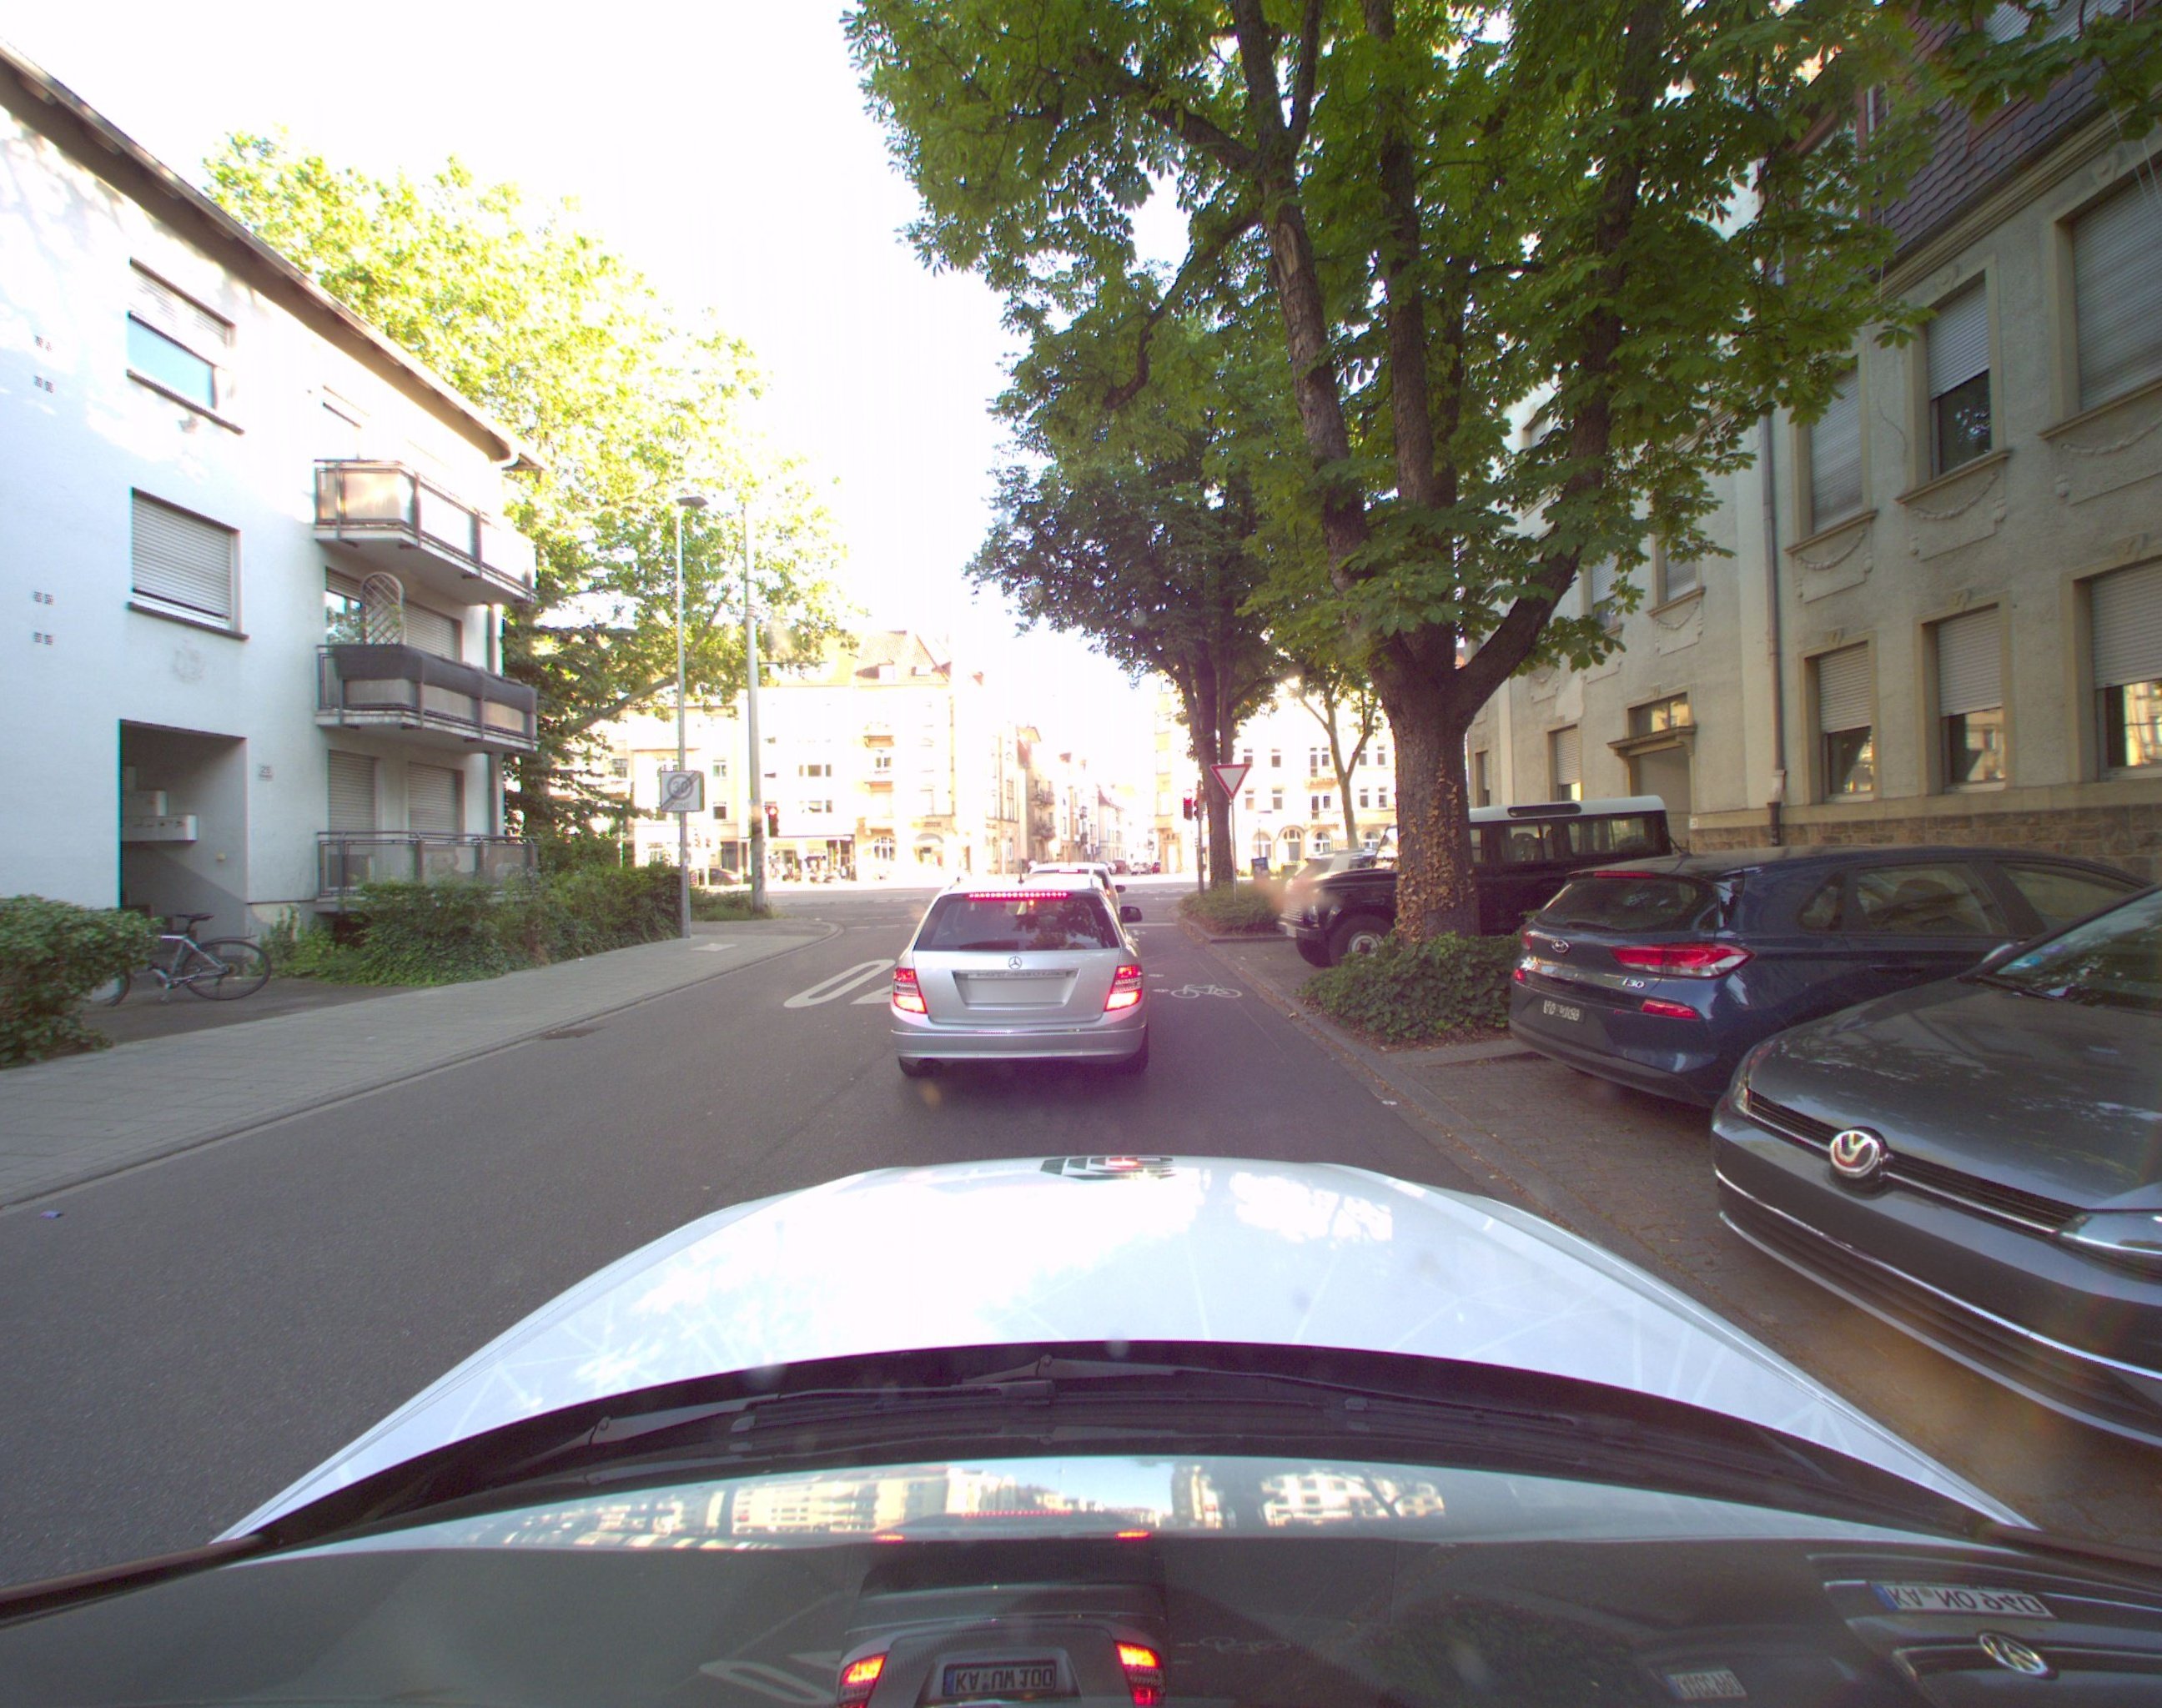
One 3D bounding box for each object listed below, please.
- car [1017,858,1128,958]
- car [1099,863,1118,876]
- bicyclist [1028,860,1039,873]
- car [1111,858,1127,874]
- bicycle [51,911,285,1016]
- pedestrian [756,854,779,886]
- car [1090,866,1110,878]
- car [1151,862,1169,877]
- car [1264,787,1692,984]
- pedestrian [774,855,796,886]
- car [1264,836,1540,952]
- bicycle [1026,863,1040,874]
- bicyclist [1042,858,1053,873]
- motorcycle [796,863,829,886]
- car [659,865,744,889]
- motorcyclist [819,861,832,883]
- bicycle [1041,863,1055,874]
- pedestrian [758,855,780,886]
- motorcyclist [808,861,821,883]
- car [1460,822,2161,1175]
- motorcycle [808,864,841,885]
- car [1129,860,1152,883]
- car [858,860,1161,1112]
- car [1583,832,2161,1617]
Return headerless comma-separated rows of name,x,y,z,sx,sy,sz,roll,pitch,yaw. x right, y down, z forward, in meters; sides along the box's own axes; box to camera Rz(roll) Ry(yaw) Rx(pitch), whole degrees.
car,-0.114,0.809,14.177,1.614,1.447,4.344,-1,0,0
car,3.702,2.048,108.846,1.824,1.663,4.012,-1,0,10
bicyclist,-4.313,1.108,73.731,0.765,1.156,0.755,-1,0,13
car,5.475,1.698,117.405,1.776,2.204,4.012,-1,0,10
bicycle,-10.001,1.168,9.013,1.630,1.008,0.511,2,-2,-39
pedestrian,-24.745,1.282,64.303,1.343,2.464,1.059,-1,0,-3
car,2.391,2.238,102.640,1.824,1.402,4.012,-1,0,10
car,9.871,1.884,101.864,1.824,1.744,4.012,-1,0,10
car,4.734,0.360,10.135,4.453,2.036,1.700,-3,-1,-2
pedestrian,-23.813,1.300,65.490,1.343,2.464,1.059,-1,0,-3
car,5.024,0.609,13.095,3.714,1.570,1.707,-3,-1,-2
bicycle,-4.330,1.330,73.652,0.765,0.940,1.947,-1,0,13
bicyclist,-3.012,1.018,73.711,0.765,1.290,0.755,-1,0,13
motorcycle,-18.418,1.398,55.882,2.028,1.452,0.568,-2,0,-3
car,-25.820,1.565,55.557,4.871,1.452,1.857,-1,0,-2
motorcyclist,-17.903,1.260,57.132,0.679,1.452,0.568,-2,0,-2
bicycle,-3.008,1.312,73.708,0.765,0.934,1.947,-1,0,13
pedestrian,-25.274,1.313,66.050,1.343,2.464,1.059,-1,0,-3
motorcyclist,-18.310,1.243,55.884,0.679,1.452,0.568,-2,0,-2
car,4.391,0.627,4.561,3.714,1.452,1.707,-3,-1,-2
motorcycle,-17.988,1.429,57.129,2.028,1.452,0.568,-2,0,-3
car,6.300,1.797,85.907,2.018,2.279,4.012,-1,0,10
car,-0.409,0.794,7.089,1.771,1.452,4.547,-1,0,0
car,4.026,0.644,2.389,4.042,1.452,1.722,-3,-1,-2
